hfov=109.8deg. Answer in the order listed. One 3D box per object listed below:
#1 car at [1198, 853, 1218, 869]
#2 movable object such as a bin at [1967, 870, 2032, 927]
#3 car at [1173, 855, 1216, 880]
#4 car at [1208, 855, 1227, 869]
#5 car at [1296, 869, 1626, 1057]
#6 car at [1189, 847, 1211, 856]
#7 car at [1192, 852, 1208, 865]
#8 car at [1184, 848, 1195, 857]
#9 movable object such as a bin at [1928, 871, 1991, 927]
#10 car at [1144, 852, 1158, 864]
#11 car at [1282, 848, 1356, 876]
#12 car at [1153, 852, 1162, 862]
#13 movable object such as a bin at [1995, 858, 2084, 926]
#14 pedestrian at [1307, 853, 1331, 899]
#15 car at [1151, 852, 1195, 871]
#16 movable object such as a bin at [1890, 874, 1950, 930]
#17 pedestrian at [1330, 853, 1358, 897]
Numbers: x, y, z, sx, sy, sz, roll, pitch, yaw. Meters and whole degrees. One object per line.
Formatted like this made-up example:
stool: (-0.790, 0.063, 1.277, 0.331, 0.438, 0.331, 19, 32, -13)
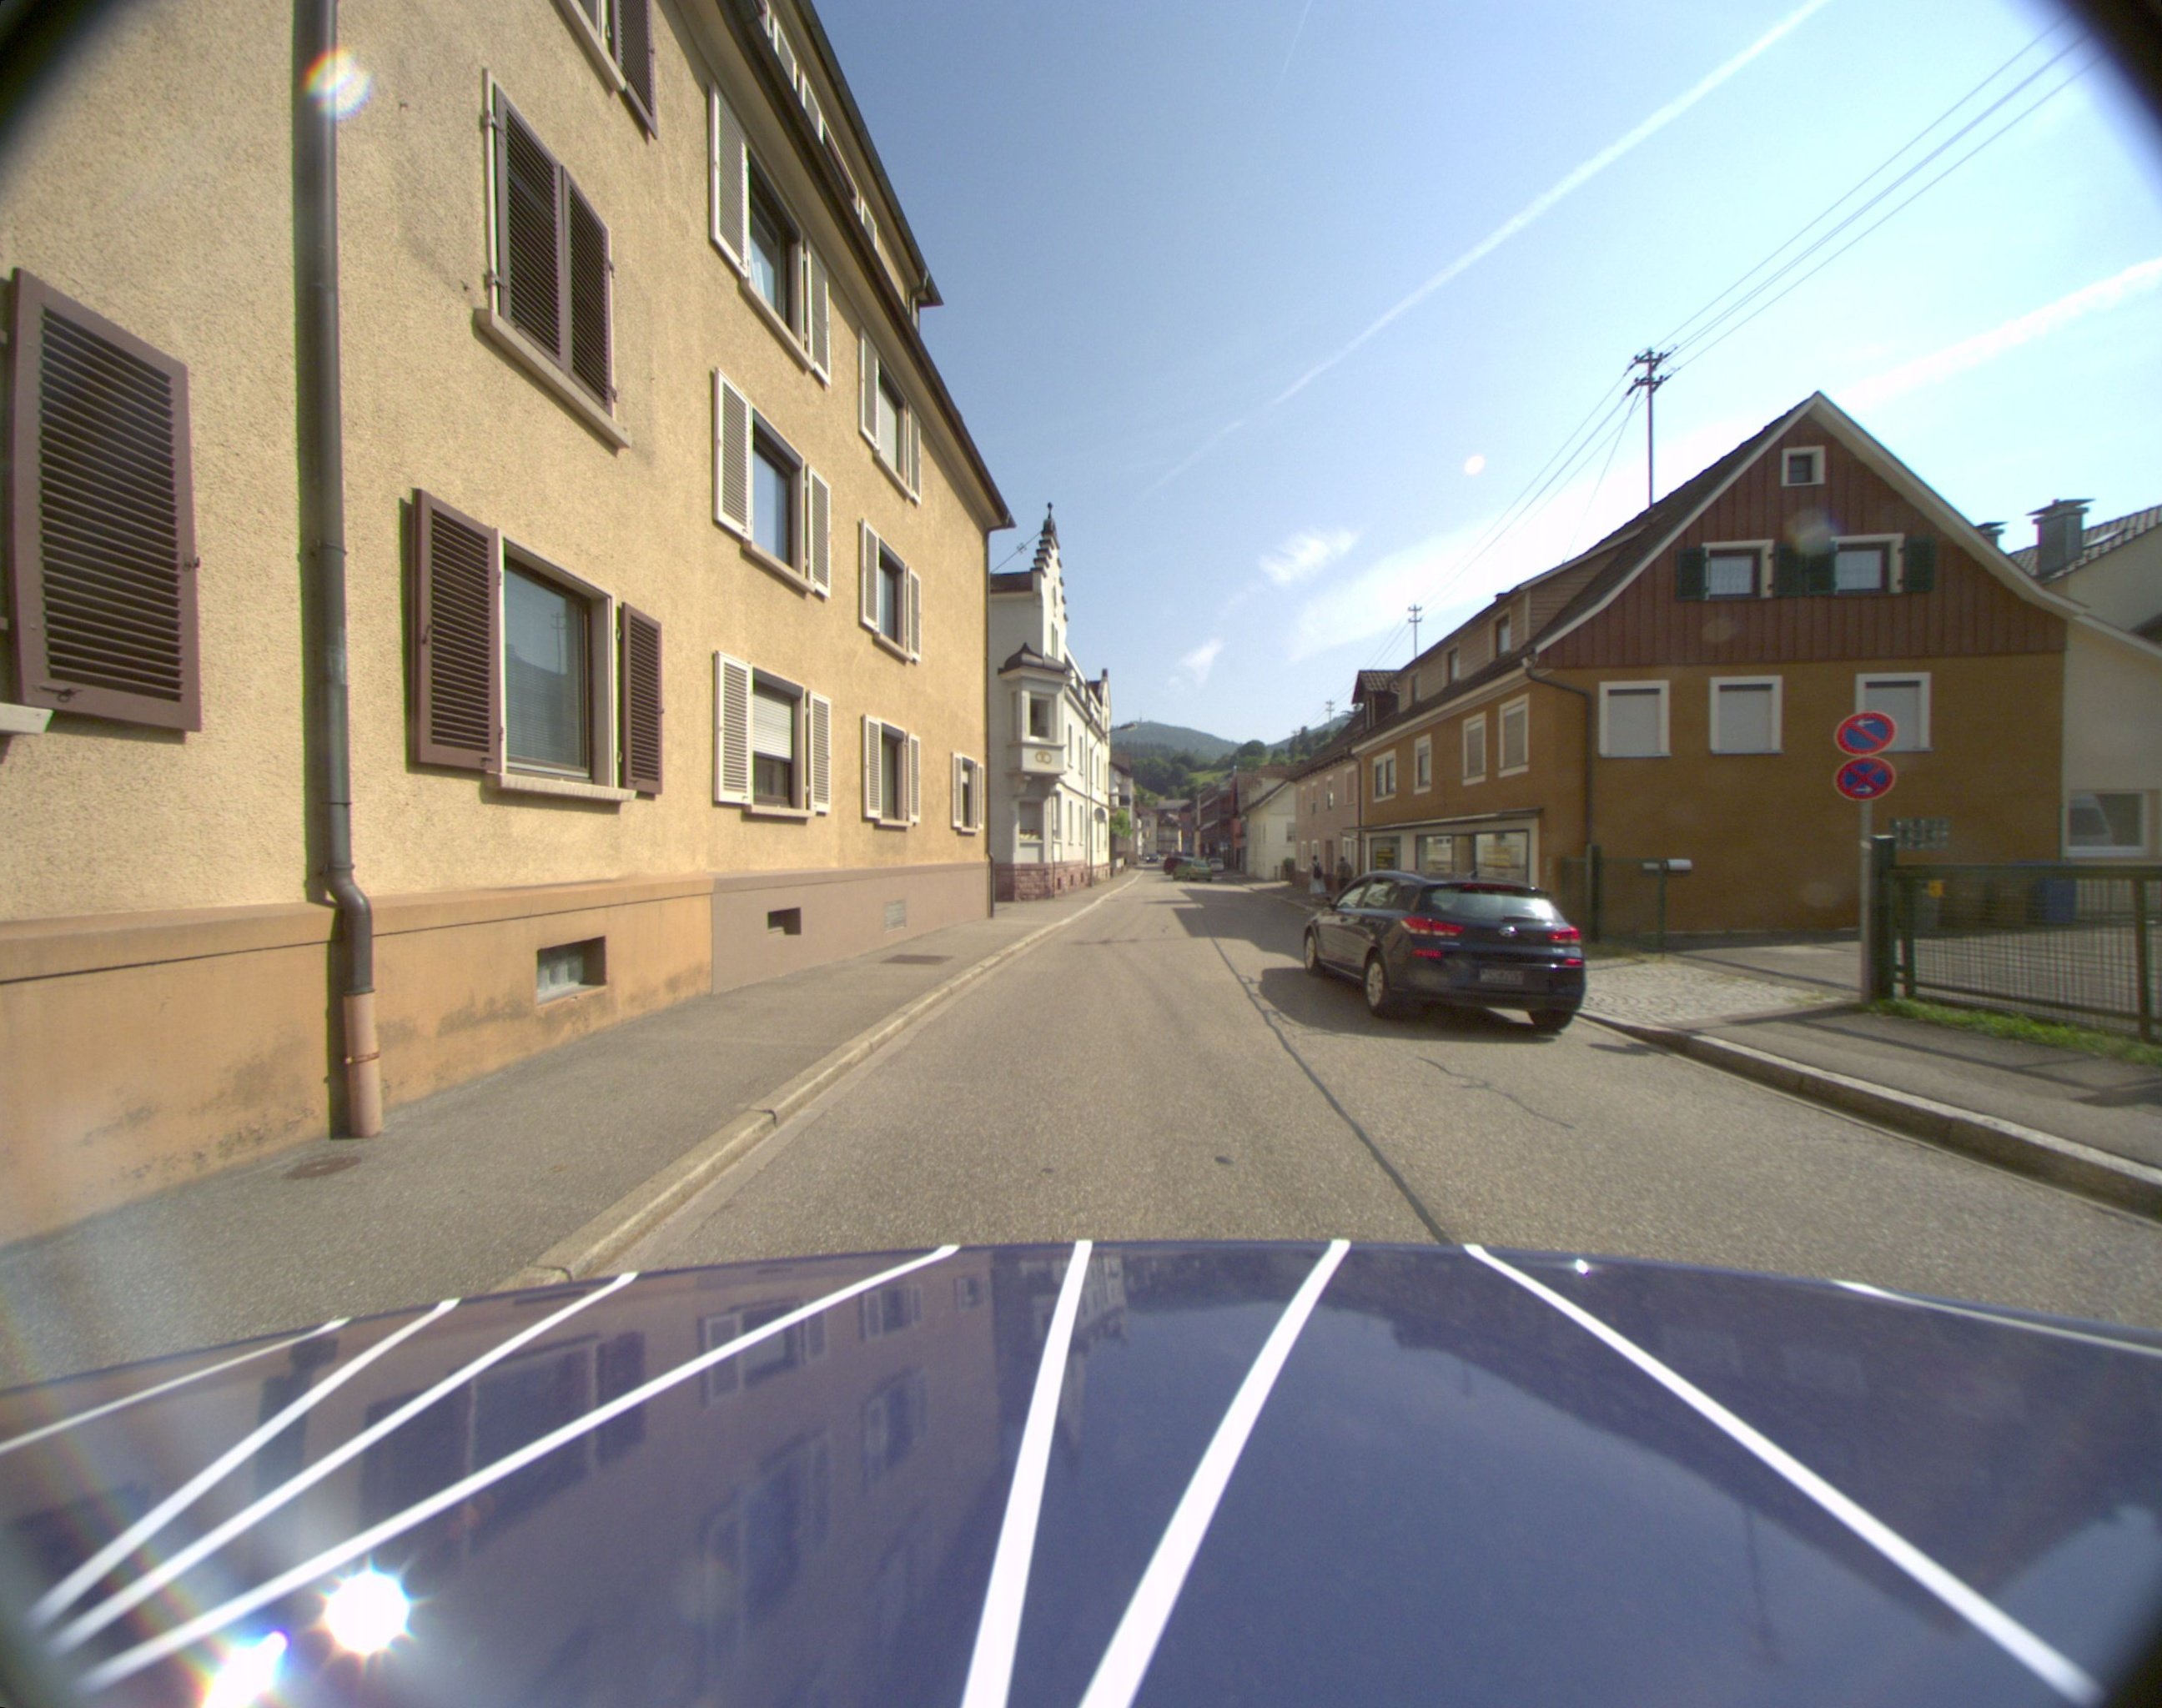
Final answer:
car: (14.315, 0.782, 85.686, 1.724, 1.786, 4.270, -1, 0, 3)
movable object such as a bin: (15.424, 0.740, 12.765, 0.478, 0.916, 0.486, -2, 0, 6)
car: (7.641, 0.878, 51.663, 1.603, 1.456, 3.654, 3, 1, -13)
car: (14.334, 0.805, 79.853, 1.669, 1.423, 3.570, -2, -1, 6)
car: (3.744, 0.949, 8.384, 1.751, 1.444, 4.029, 3, 0, 4)
car: (23.179, -0.550, 147.714, 3.998, 1.673, 1.834, 0, -1, -3)
car: (15.413, 0.557, 98.225, 1.677, 1.546, 3.766, -1, 0, 4)
car: (19.833, -0.245, 139.213, 1.786, 1.566, 3.890, -3, 0, 5)
movable object such as a bin: (14.885, 0.755, 12.884, 0.478, 0.916, 0.486, -2, 0, 6)
car: (12.449, 0.733, 135.614, 1.999, 2.002, 3.999, -2, 1, 0)
car: (14.825, 0.490, 47.478, 3.996, 1.584, 1.908, -2, 0, 4)
car: (16.748, 0.666, 165.993, 1.742, 2.002, 3.841, -1, 0, 4)
movable object such as a bin: (16.087, 0.631, 12.772, 0.544, 1.087, 0.744, -2, 0, 6)
pedestrian: (8.586, 0.776, 27.443, 0.640, 1.617, 0.777, -3, 0, 7)
car: (8.170, 0.671, 67.784, 1.827, 1.652, 3.991, 0, -1, -32)
movable object such as a bin: (14.271, 0.811, 12.933, 0.478, 0.916, 0.486, -2, 0, 6)
pedestrian: (9.487, 0.746, 27.472, 0.736, 1.555, 0.825, -2, 0, 7)
